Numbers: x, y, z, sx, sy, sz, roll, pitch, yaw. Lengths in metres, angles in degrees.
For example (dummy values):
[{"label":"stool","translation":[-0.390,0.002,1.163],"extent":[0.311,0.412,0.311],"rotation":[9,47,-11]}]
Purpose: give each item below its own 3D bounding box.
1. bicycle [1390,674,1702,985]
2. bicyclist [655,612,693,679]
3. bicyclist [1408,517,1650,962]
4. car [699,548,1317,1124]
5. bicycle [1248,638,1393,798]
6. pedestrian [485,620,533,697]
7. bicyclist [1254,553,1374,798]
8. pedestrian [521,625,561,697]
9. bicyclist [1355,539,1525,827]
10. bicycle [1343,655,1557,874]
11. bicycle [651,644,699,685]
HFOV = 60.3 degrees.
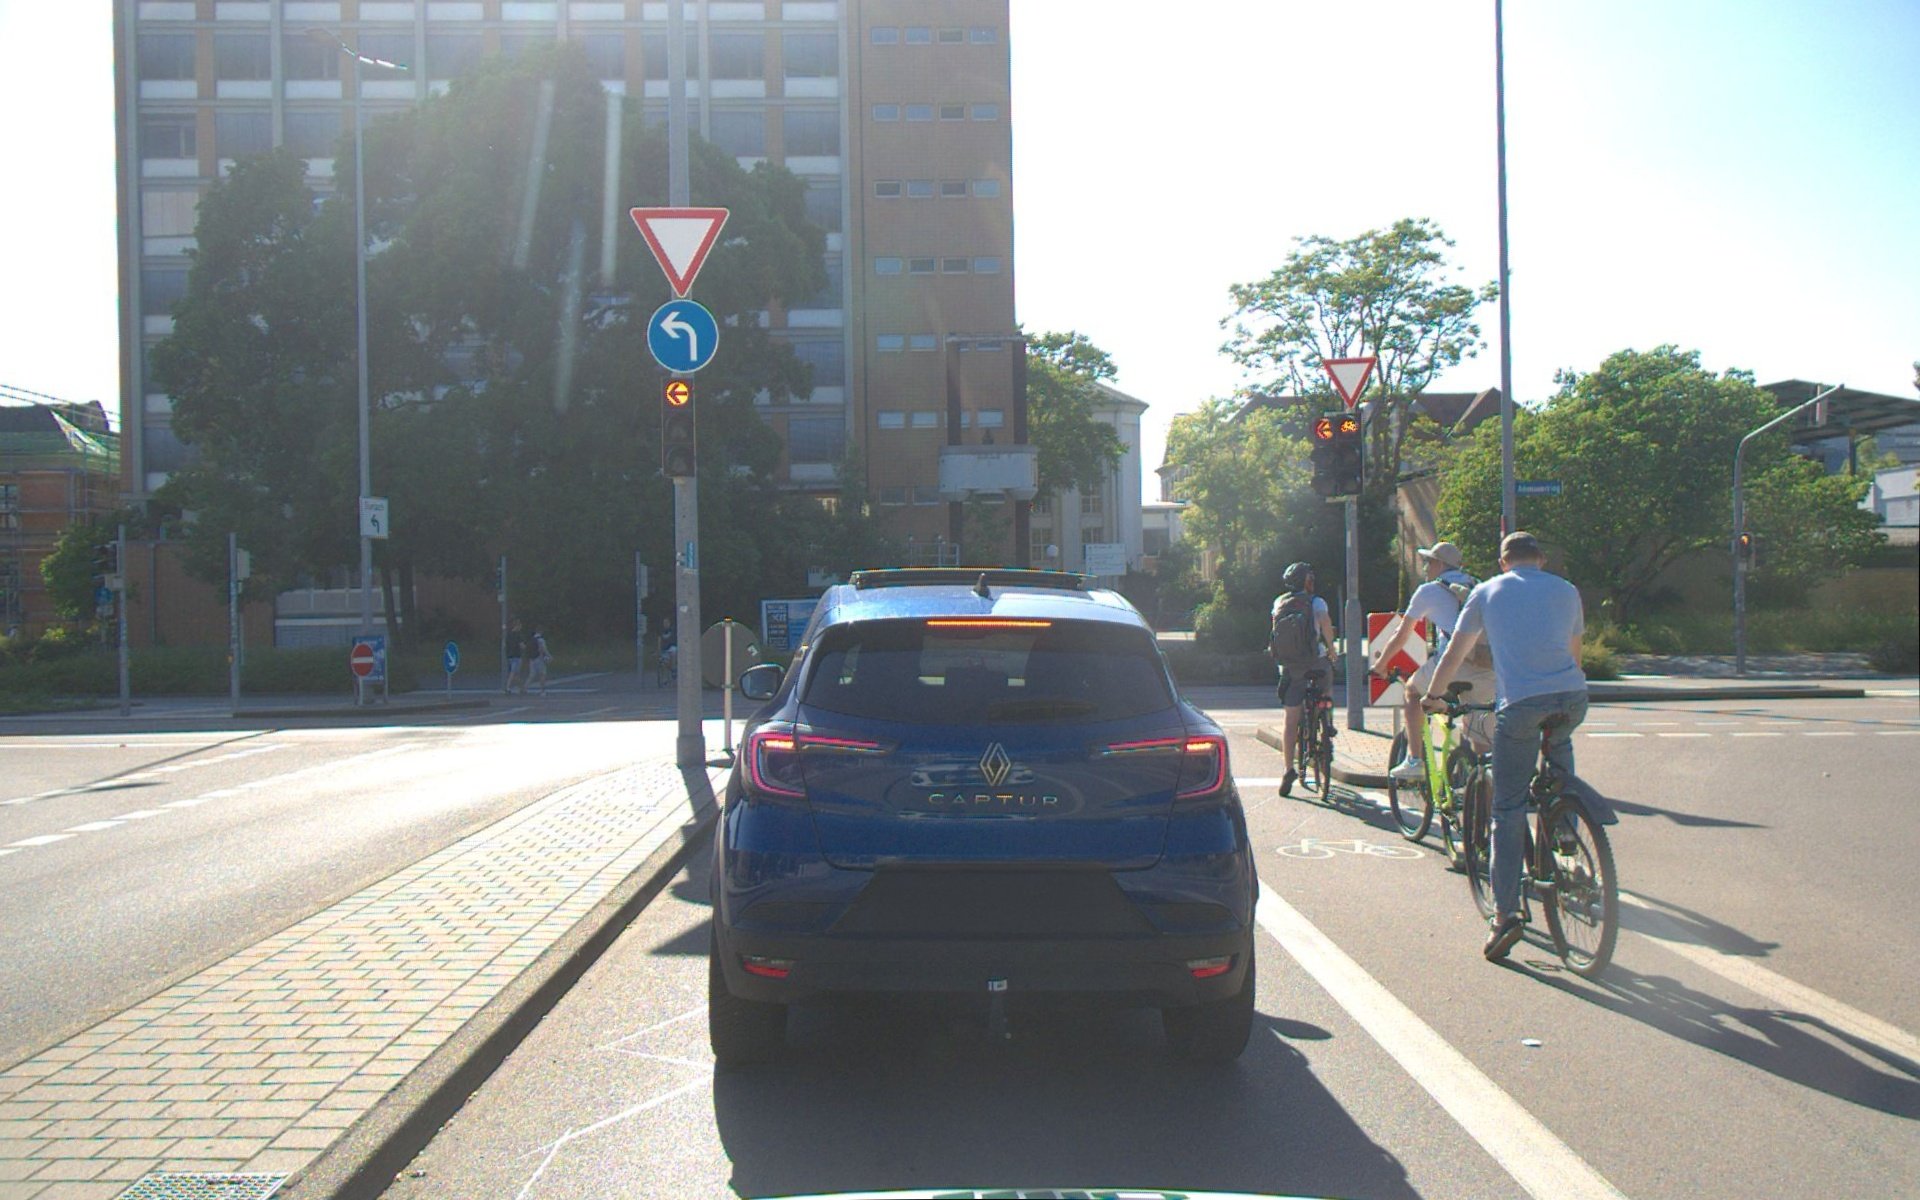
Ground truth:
[{"label":"bicycle","translation":[2.497,0.922,7.309],"extent":[0.675,1.108,1.922],"rotation":[0,0,-1]},{"label":"bicyclist","translation":[-7.549,1.195,43.660],"extent":[0.739,1.746,0.999],"rotation":[-1,0,5]},{"label":"bicyclist","translation":[2.494,0.573,7.368],"extent":[0.669,1.822,1.142],"rotation":[0,0,-1]},{"label":"car","translation":[0.055,0.665,6.638],"extent":[1.753,1.613,3.912],"rotation":[0,0,-3]},{"label":"bicycle","translation":[2.756,0.867,12.836],"extent":[0.675,1.108,1.922],"rotation":[0,0,-1]},{"label":"pedestrian","translation":[-11.323,1.465,41.562],"extent":[0.796,1.895,0.910],"rotation":[-1,0,13]},{"label":"bicyclist","translation":[2.741,0.563,12.907],"extent":[0.685,1.822,1.142],"rotation":[0,0,-1]},{"label":"pedestrian","translation":[-10.370,1.508,40.978],"extent":[0.666,1.761,0.761],"rotation":[-1,0,13]},{"label":"bicyclist","translation":[2.843,0.468,9.892],"extent":[0.664,1.622,1.142],"rotation":[0,0,-1]},{"label":"bicycle","translation":[2.846,0.912,9.819],"extent":[0.675,1.108,1.922],"rotation":[0,0,-1]},{"label":"bicycle","translation":[-7.530,1.701,43.763],"extent":[0.739,1.002,2.095],"rotation":[-1,0,5]}]
